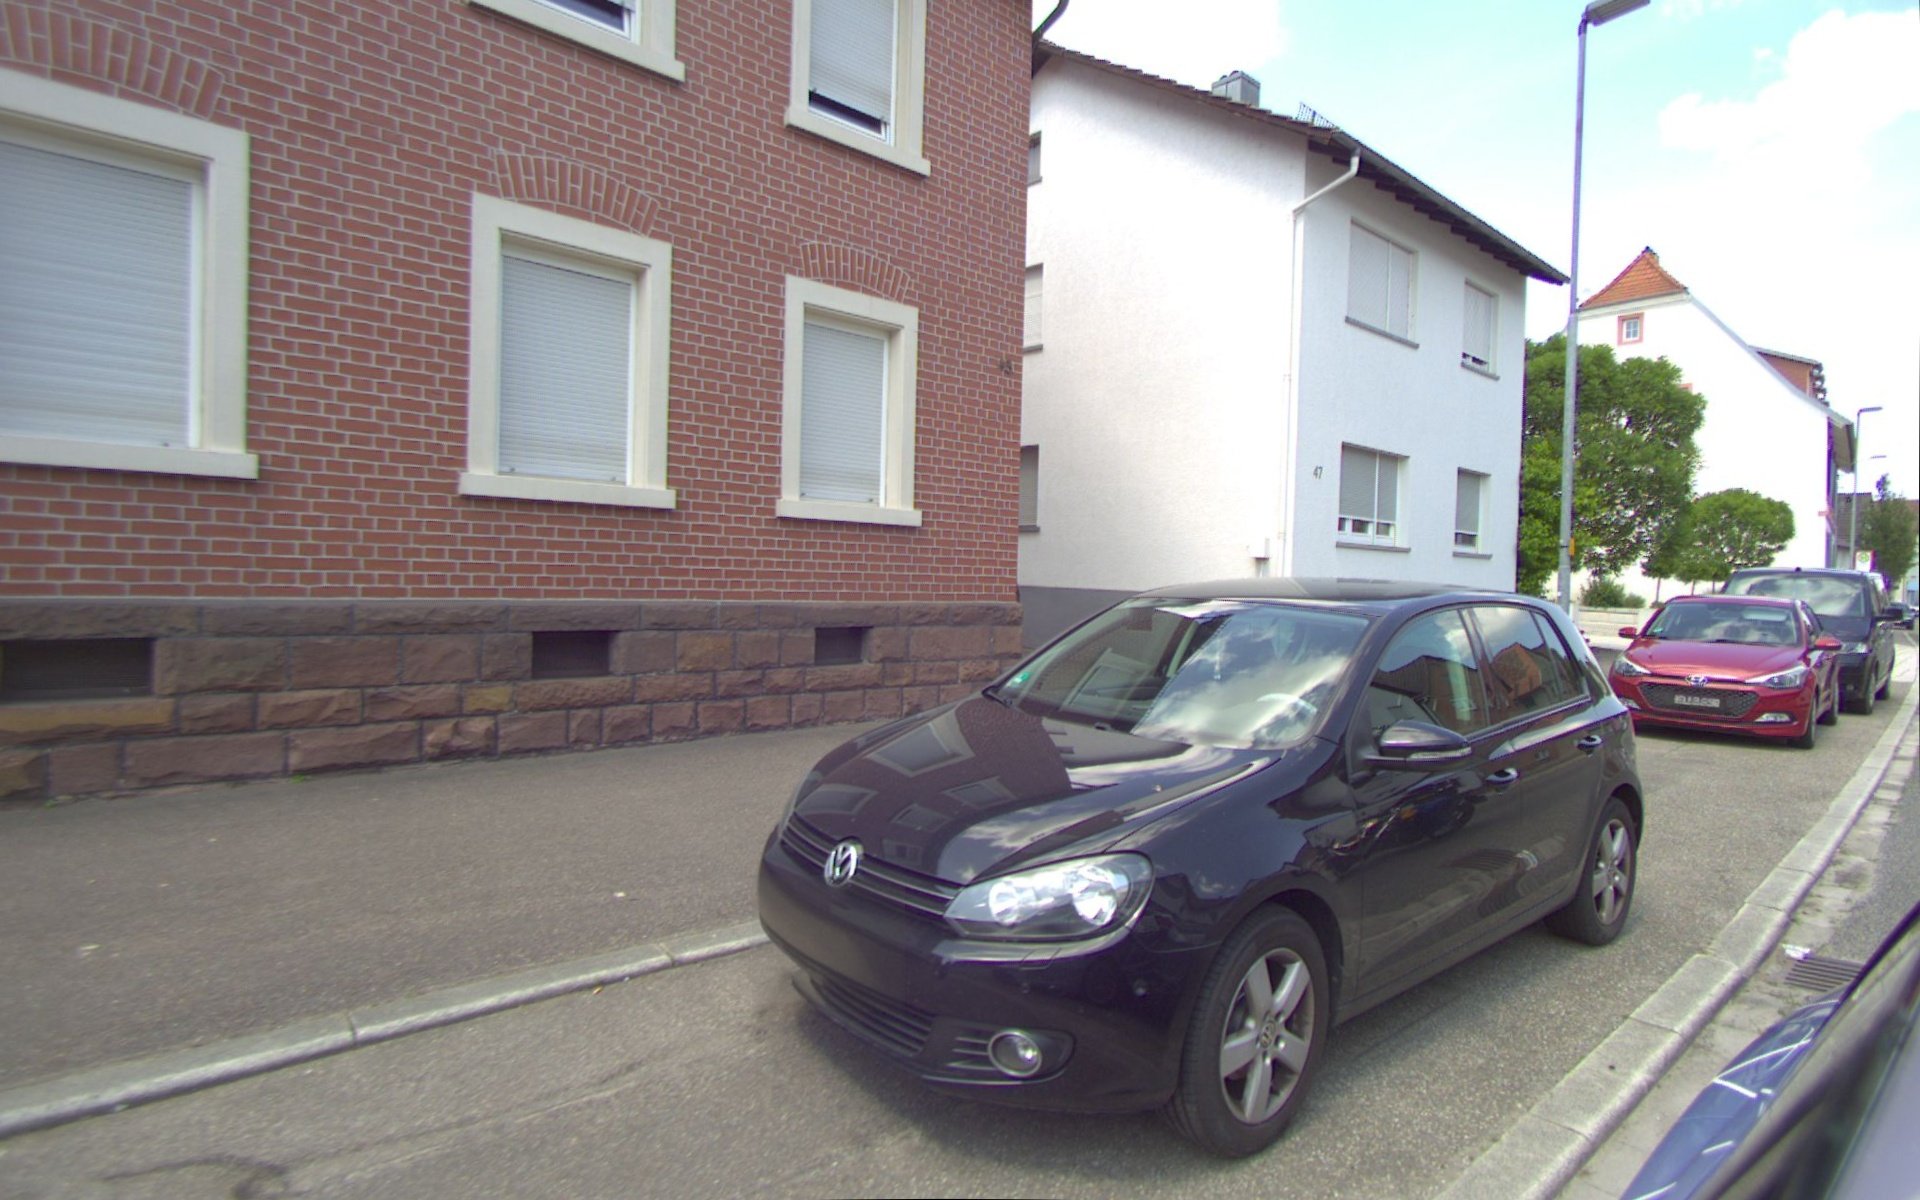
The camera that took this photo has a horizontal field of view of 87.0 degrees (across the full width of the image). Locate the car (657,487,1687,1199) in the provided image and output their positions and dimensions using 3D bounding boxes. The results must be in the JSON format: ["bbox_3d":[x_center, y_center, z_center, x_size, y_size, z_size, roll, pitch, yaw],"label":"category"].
[{"bbox_3d":[1.106,0.554,3.931,3.928,1.548,1.773,3,3,-40],"label":"car"}]

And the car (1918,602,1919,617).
[{"bbox_3d":[90.028,0.875,93.514,3.932,1.369,1.996,-1,1,-43],"label":"car"}]

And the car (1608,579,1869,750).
[{"bbox_3d":[8.892,0.575,11.397,4.484,1.522,1.740,0,2,-45],"label":"car"}]

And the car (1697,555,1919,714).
[{"bbox_3d":[12.592,0.362,14.833,5.157,1.939,1.928,-1,1,-43],"label":"car"}]
